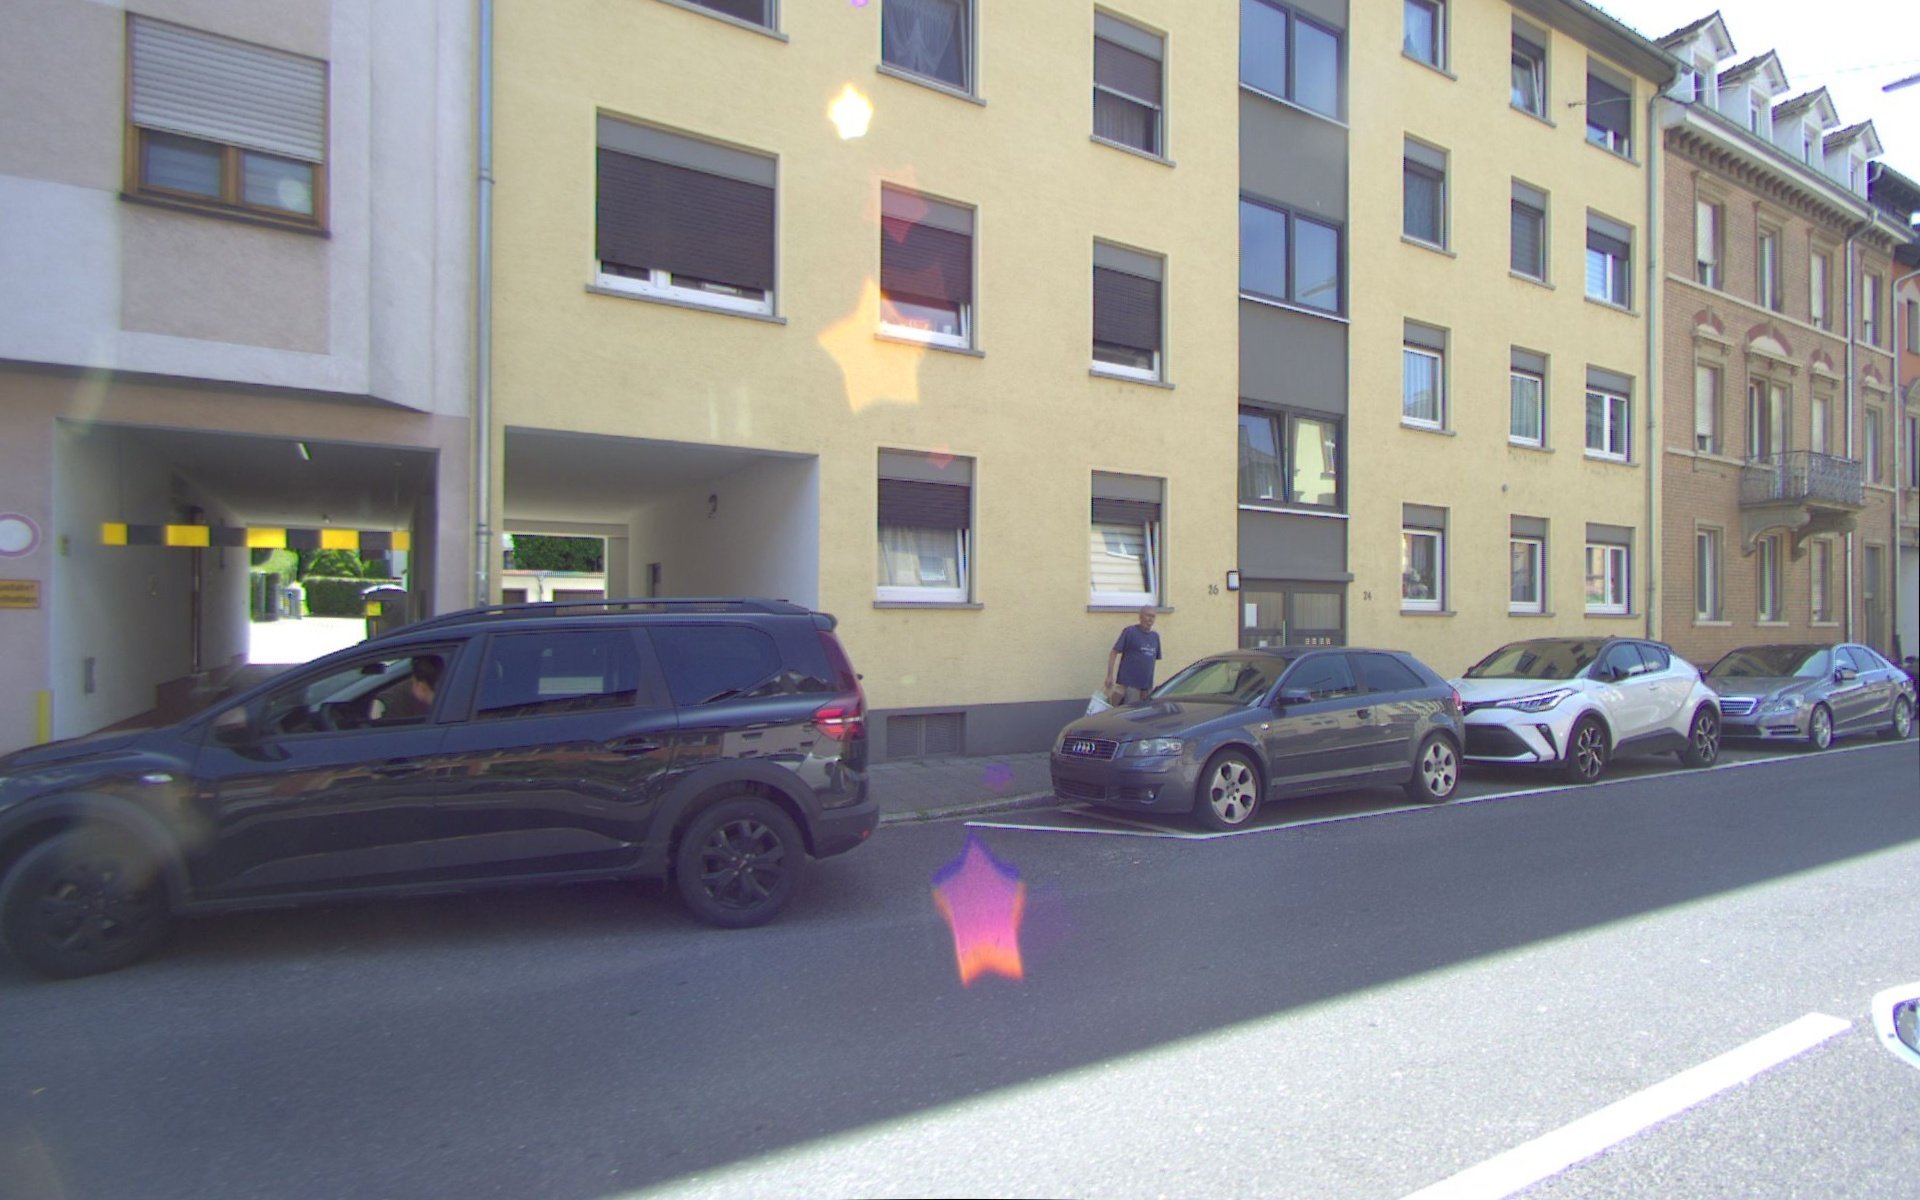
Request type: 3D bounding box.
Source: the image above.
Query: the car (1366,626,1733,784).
[{"bbox_3d":[6.923,1.115,11.717,4.254,1.530,1.895,1,-4,-32],"label":"car"}]

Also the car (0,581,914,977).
[{"bbox_3d":[-2.633,0.810,5.562,4.480,1.659,1.906,0,-3,-14],"label":"car"}]

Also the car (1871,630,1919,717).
[{"bbox_3d":[20.108,1.423,19.938,4.255,1.641,1.895,2,-4,-32],"label":"car"}]

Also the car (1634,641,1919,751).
[{"bbox_3d":[12.314,1.339,15.012,4.701,1.419,1.895,1,-4,-31],"label":"car"}]

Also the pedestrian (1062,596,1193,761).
[{"bbox_3d":[1.903,0.865,11.474,1.139,1.773,0.963,1,-1,-25],"label":"pedestrian"}]

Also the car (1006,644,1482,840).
[{"bbox_3d":[2.607,1.111,9.065,4.014,1.397,1.896,1,-4,-31],"label":"car"}]
